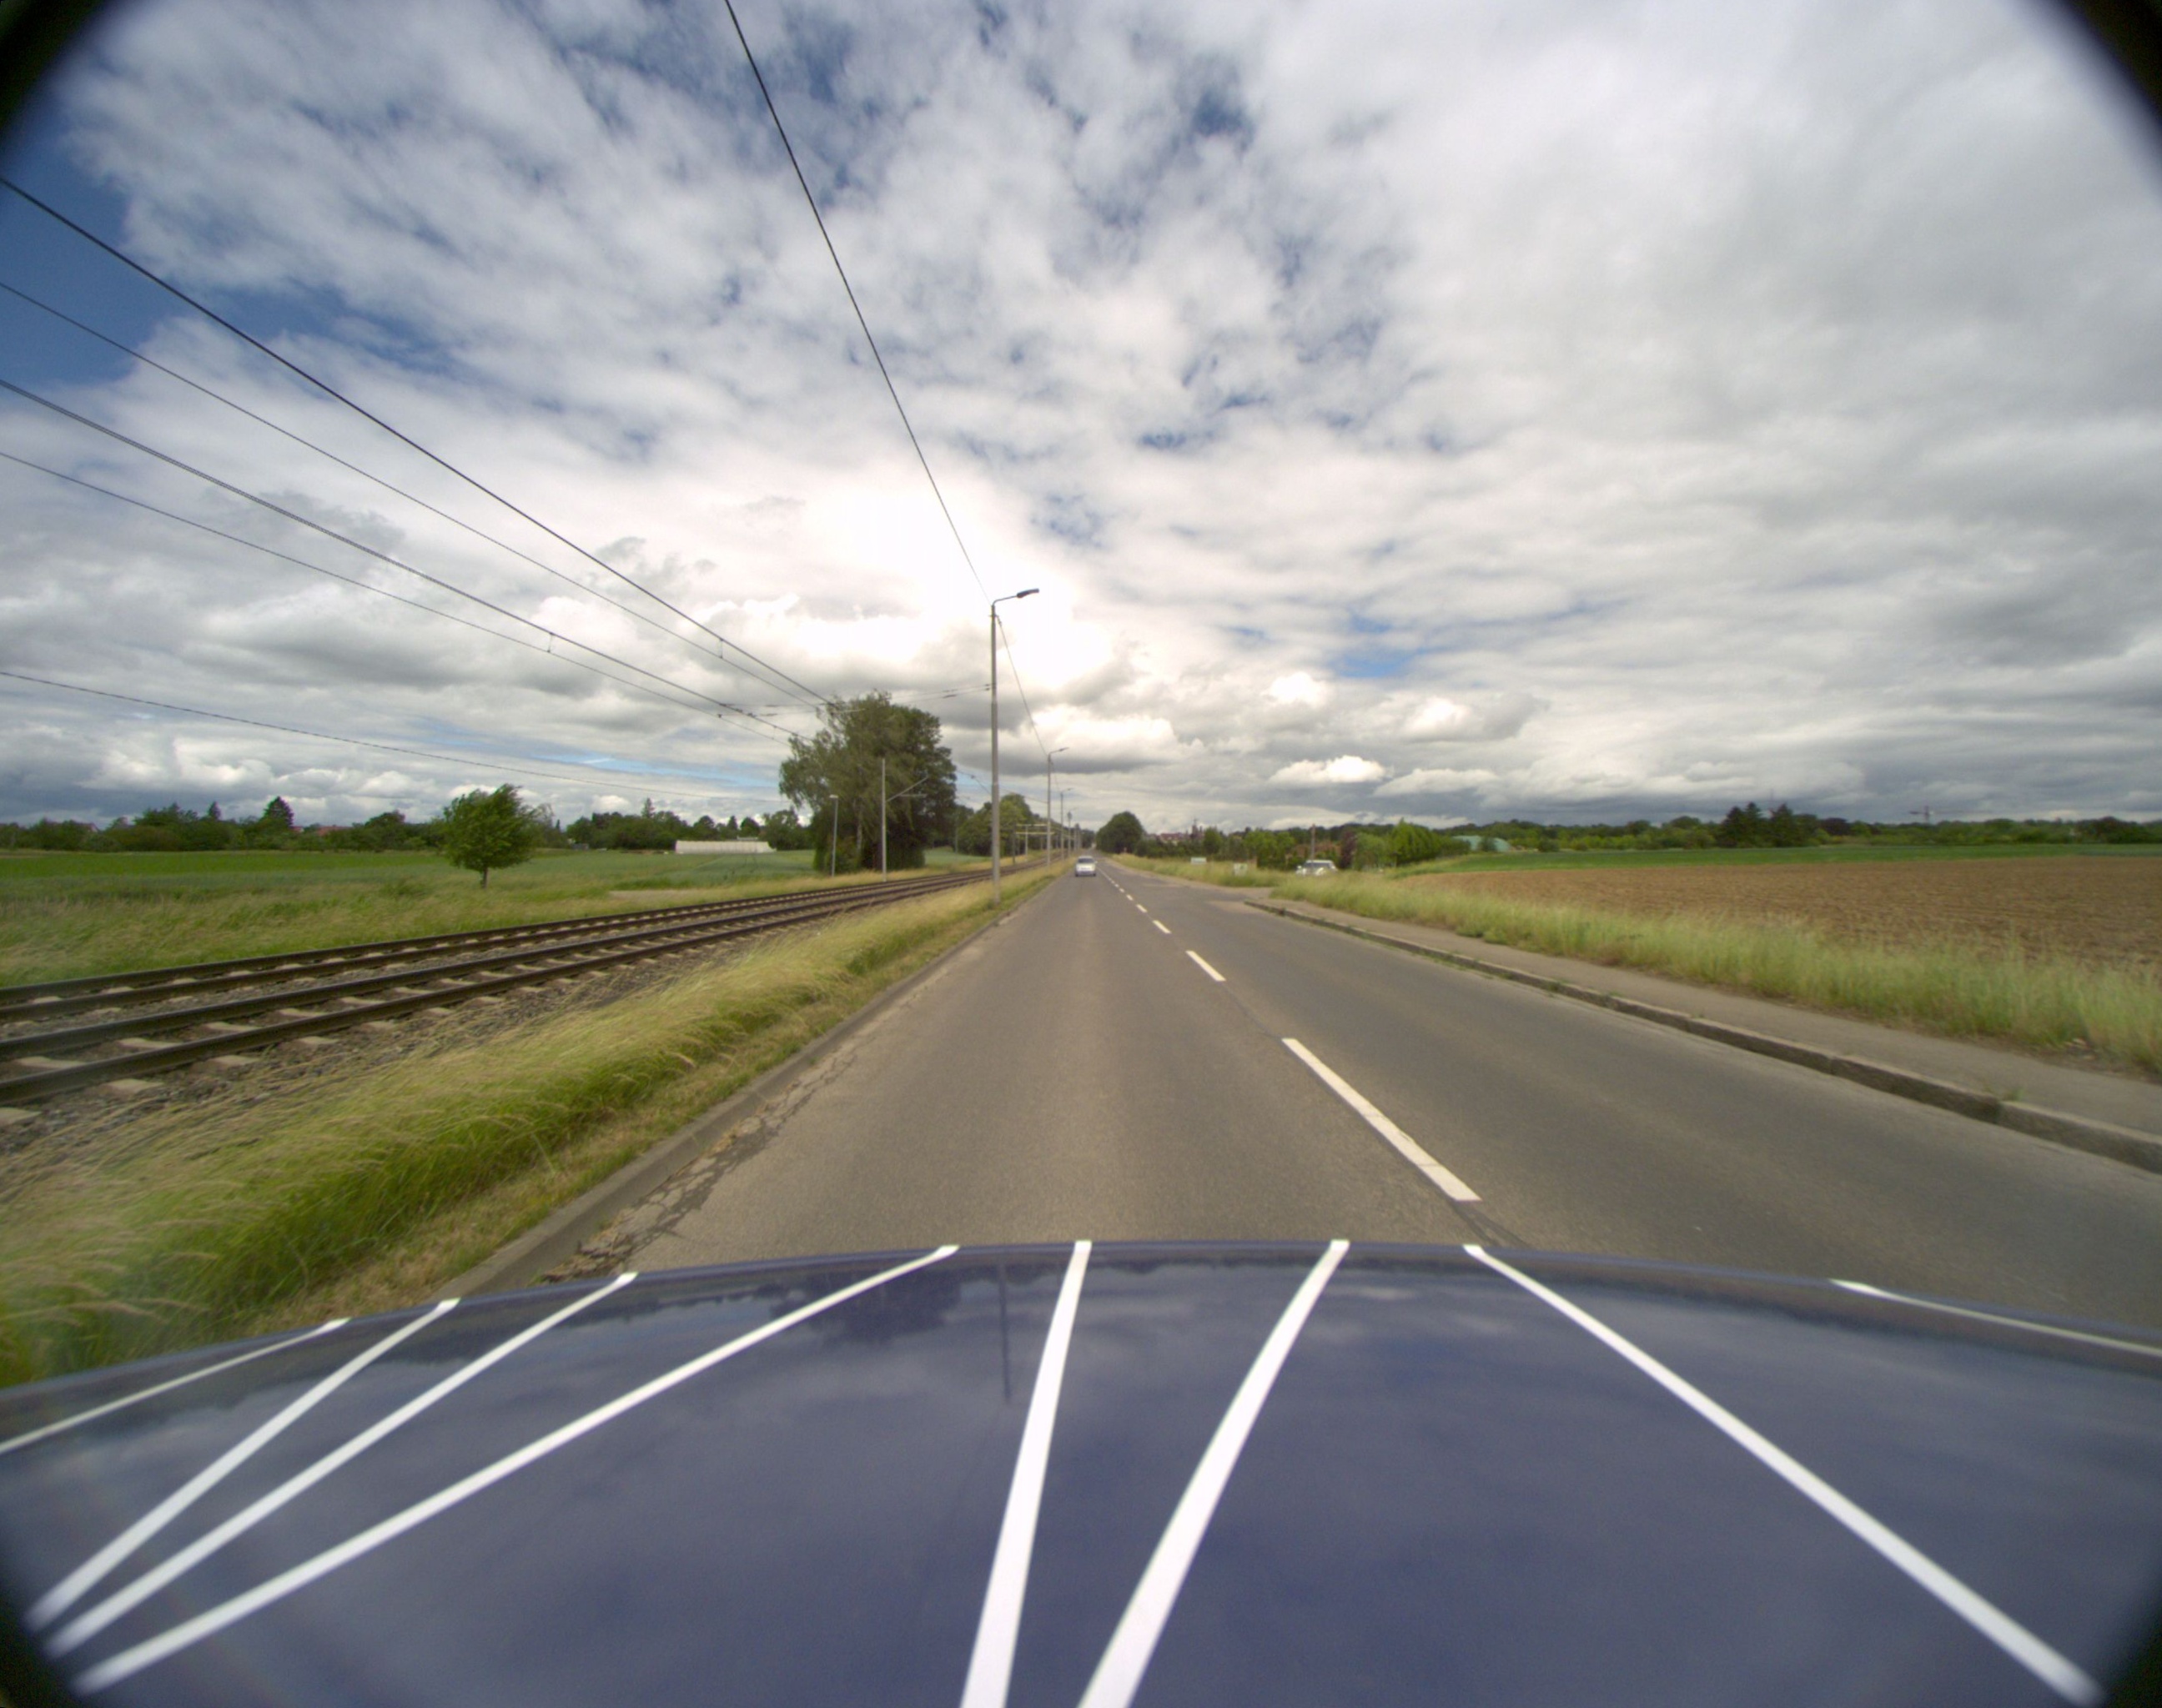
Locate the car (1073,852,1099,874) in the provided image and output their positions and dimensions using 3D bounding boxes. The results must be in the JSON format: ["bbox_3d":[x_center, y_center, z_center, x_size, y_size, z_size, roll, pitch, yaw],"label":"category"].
[{"bbox_3d":[0.371,0.686,61.904,1.999,1.679,3.999,-1,1,-1],"label":"car"}]

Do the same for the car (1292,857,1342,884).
[{"bbox_3d":[13.262,0.894,42.494,1.970,1.445,4.008,0,-1,28],"label":"car"}]
